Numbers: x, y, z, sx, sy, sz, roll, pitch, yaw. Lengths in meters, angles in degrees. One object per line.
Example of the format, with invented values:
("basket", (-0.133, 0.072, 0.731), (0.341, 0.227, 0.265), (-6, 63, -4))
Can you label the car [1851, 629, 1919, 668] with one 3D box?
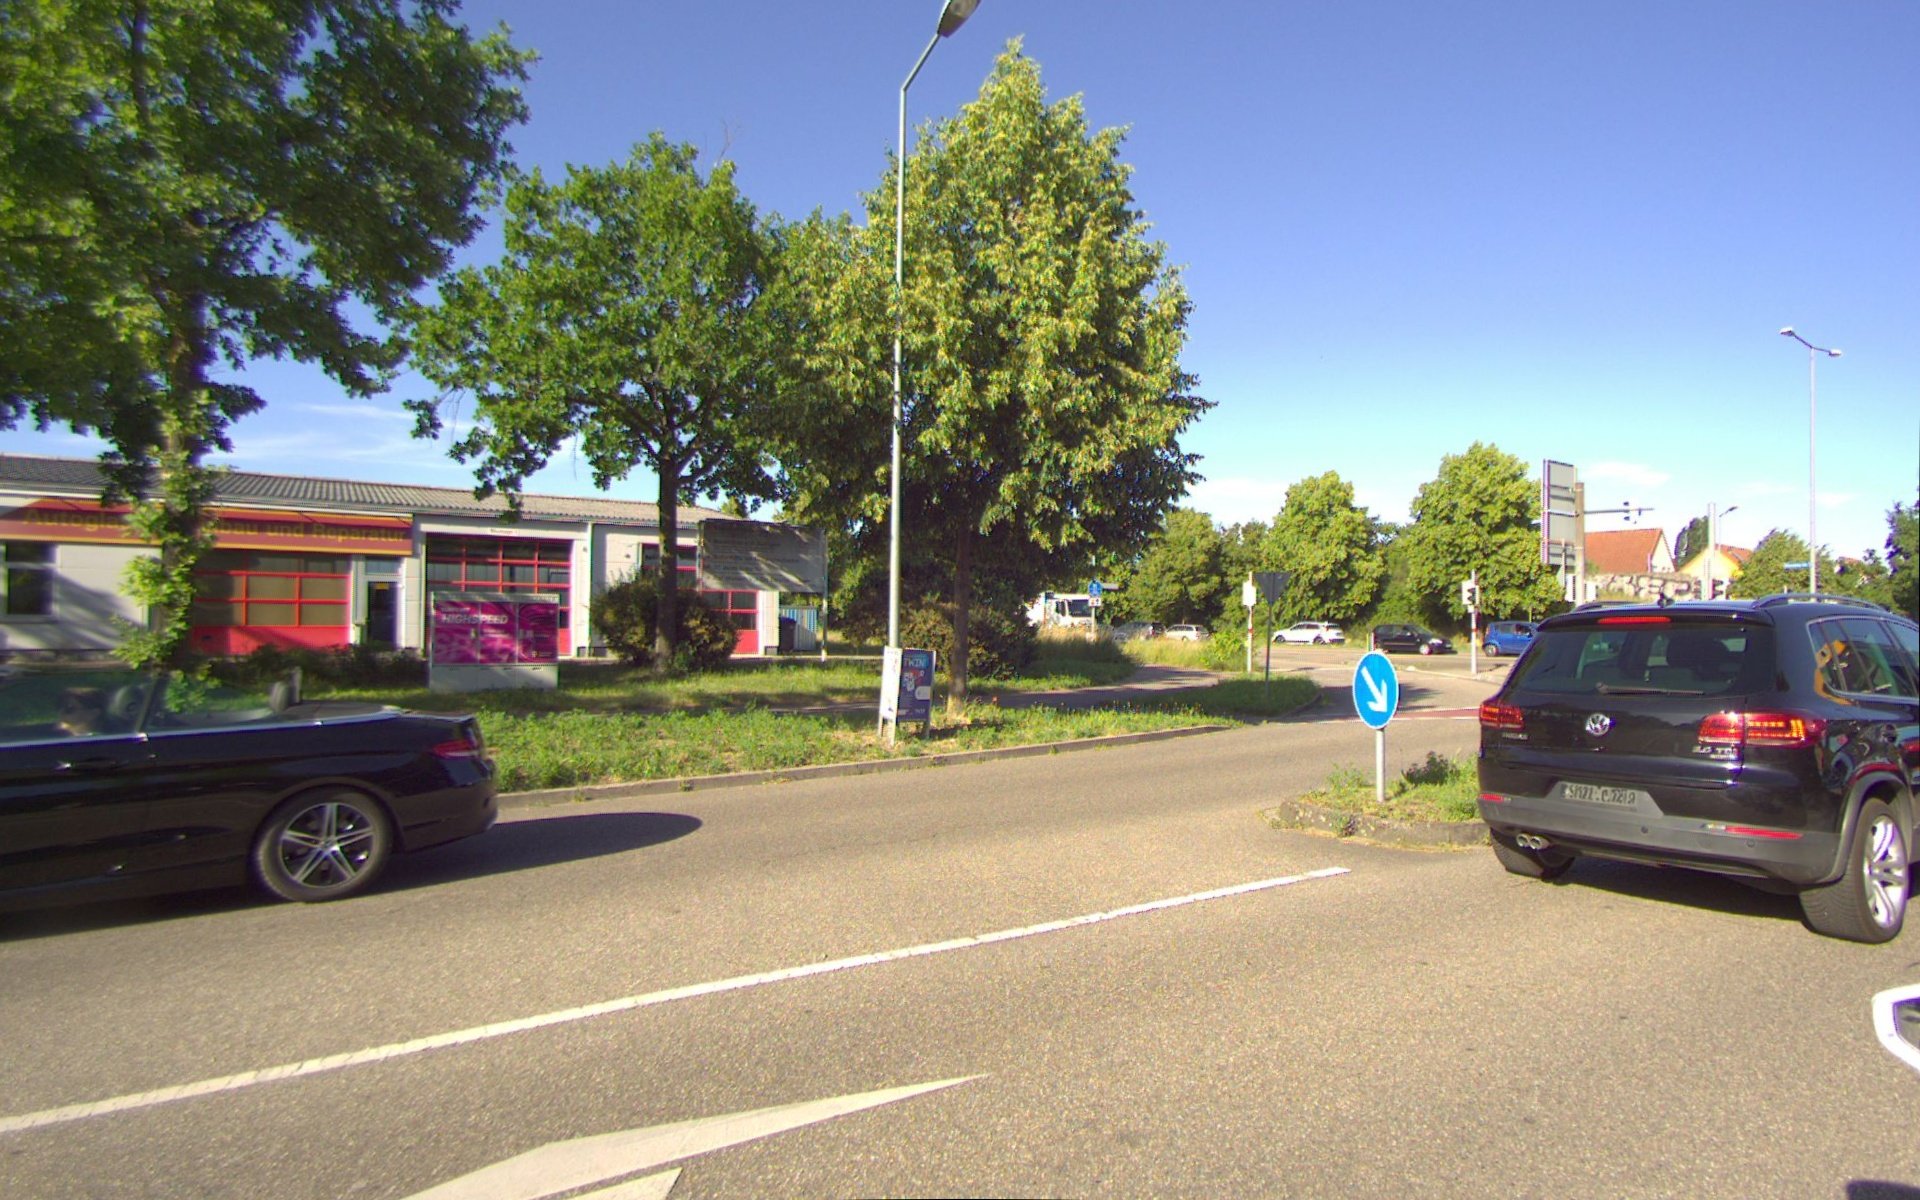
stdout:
("car", (40.809, 2.073, 42.834), (1.678, 1.633, 3.961), (1, -1, -35))

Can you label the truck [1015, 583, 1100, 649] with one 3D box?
("truck", (5.761, 0.933, 59.613), (2.390, 3.744, 4.763), (1, -1, -39))

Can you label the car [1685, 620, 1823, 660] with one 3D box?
("car", (33.583, 1.668, 42.586), (1.562, 1.479, 4.377), (2, -1, -39))

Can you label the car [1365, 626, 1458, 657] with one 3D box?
("car", (21.731, 1.977, 48.447), (1.494, 1.330, 3.817), (2, -1, -38))

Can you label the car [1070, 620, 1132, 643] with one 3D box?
("car", (8.571, 1.932, 61.277), (1.494, 1.330, 3.817), (2, -2, -38))

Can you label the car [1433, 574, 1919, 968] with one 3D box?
("car", (4.946, 0.833, 6.148), (3.956, 1.695, 1.812), (2, -3, -31))

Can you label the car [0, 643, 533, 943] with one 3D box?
("car", (-5.100, 1.009, 5.766), (4.547, 1.421, 1.979), (1, -4, -38))

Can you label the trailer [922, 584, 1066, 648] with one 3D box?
("trailer", (1.919, 1.025, 64.469), (2.375, 3.745, 11.385), (1, -1, -39))

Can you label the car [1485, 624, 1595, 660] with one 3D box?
("car", (25.322, 1.810, 43.928), (1.668, 1.403, 3.817), (2, -1, -38))

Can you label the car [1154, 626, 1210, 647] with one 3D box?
("car", (15.997, 2.611, 72.470), (1.666, 1.358, 3.821), (2, -1, -34))

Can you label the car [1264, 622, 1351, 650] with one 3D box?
("car", (20.719, 2.117, 60.061), (1.979, 1.560, 4.675), (1, -1, -33))

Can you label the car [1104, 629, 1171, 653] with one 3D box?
("car", (12.615, 2.884, 71.716), (1.980, 1.560, 4.671), (1, -1, -35))
